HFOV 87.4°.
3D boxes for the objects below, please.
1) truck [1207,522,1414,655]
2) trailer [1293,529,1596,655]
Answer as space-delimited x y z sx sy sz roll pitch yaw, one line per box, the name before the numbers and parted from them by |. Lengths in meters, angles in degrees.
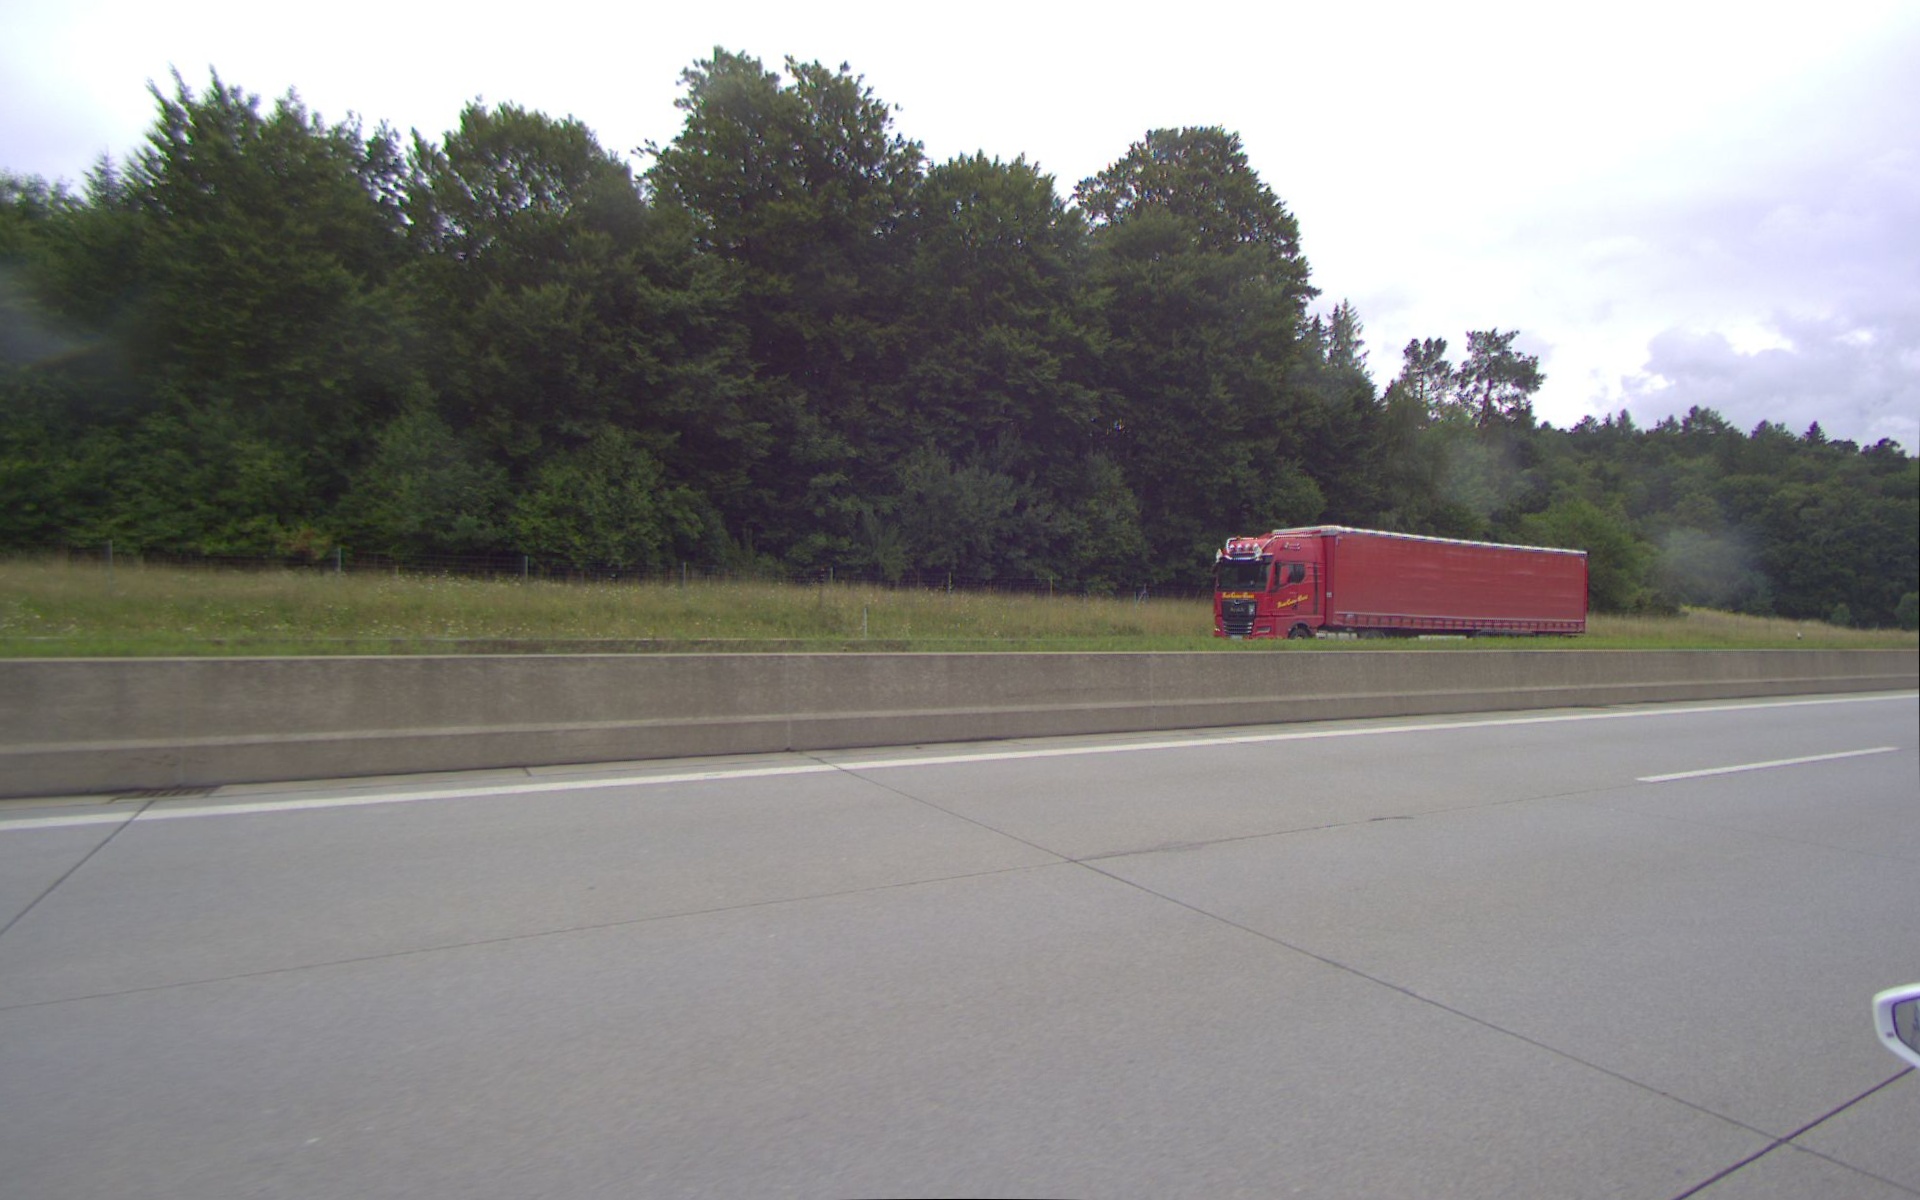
truck | 11.538 -0.283 32.884 6.865 3.980 2.540 1 0 -30
trailer | 18.176 -0.143 36.858 14.213 3.997 2.595 1 0 -31
